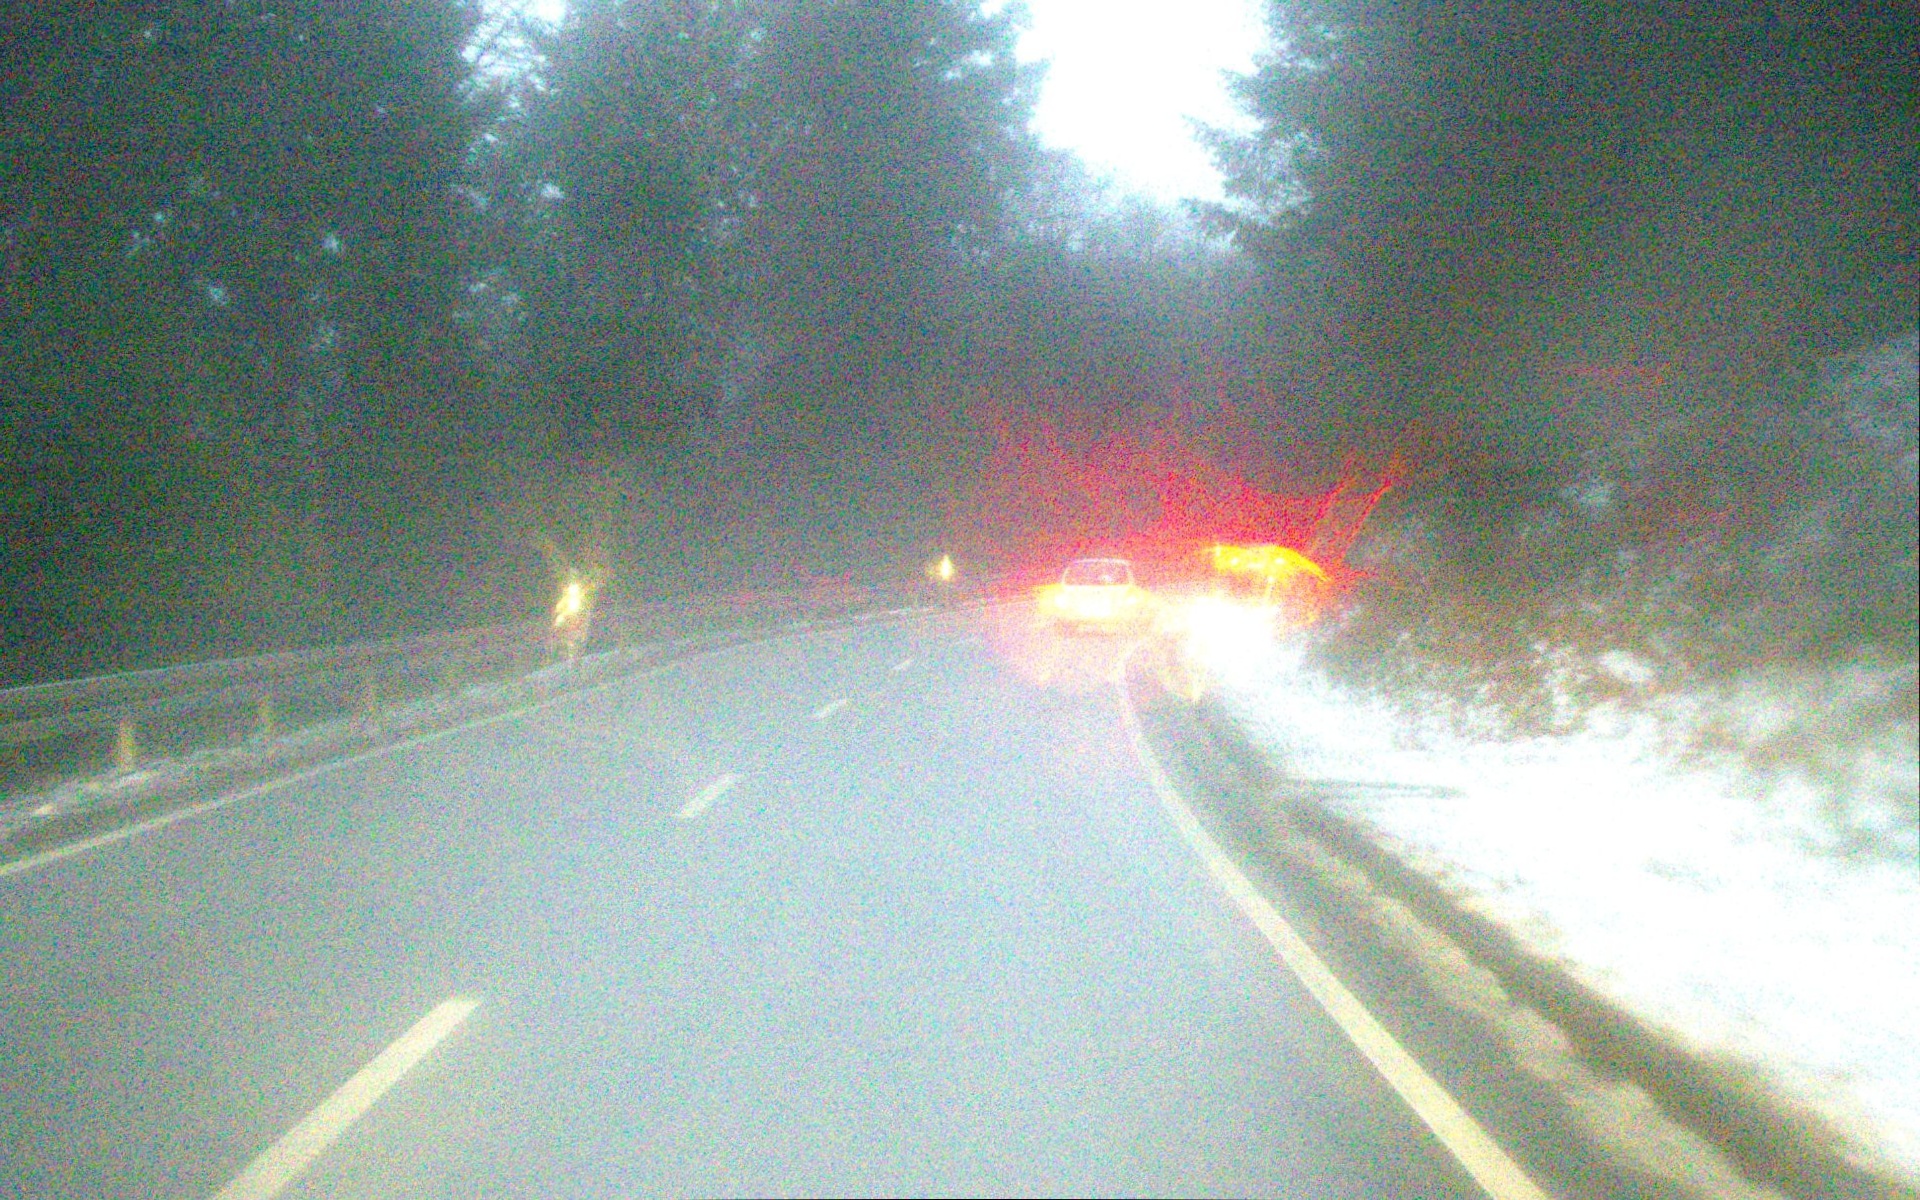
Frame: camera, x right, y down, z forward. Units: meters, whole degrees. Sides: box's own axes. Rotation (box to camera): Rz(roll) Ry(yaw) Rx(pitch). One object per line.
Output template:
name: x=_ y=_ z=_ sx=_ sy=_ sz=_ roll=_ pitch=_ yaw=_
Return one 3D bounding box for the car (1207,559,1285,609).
car: x=8.384 y=-0.478 z=100.628 sx=1.994 sy=1.305 sz=3.999 roll=-2 pitch=1 yaw=8

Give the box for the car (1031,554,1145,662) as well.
car: x=2.429 y=0.122 z=64.272 sx=1.994 sy=1.866 sz=4.000 roll=-2 pitch=1 yaw=3
